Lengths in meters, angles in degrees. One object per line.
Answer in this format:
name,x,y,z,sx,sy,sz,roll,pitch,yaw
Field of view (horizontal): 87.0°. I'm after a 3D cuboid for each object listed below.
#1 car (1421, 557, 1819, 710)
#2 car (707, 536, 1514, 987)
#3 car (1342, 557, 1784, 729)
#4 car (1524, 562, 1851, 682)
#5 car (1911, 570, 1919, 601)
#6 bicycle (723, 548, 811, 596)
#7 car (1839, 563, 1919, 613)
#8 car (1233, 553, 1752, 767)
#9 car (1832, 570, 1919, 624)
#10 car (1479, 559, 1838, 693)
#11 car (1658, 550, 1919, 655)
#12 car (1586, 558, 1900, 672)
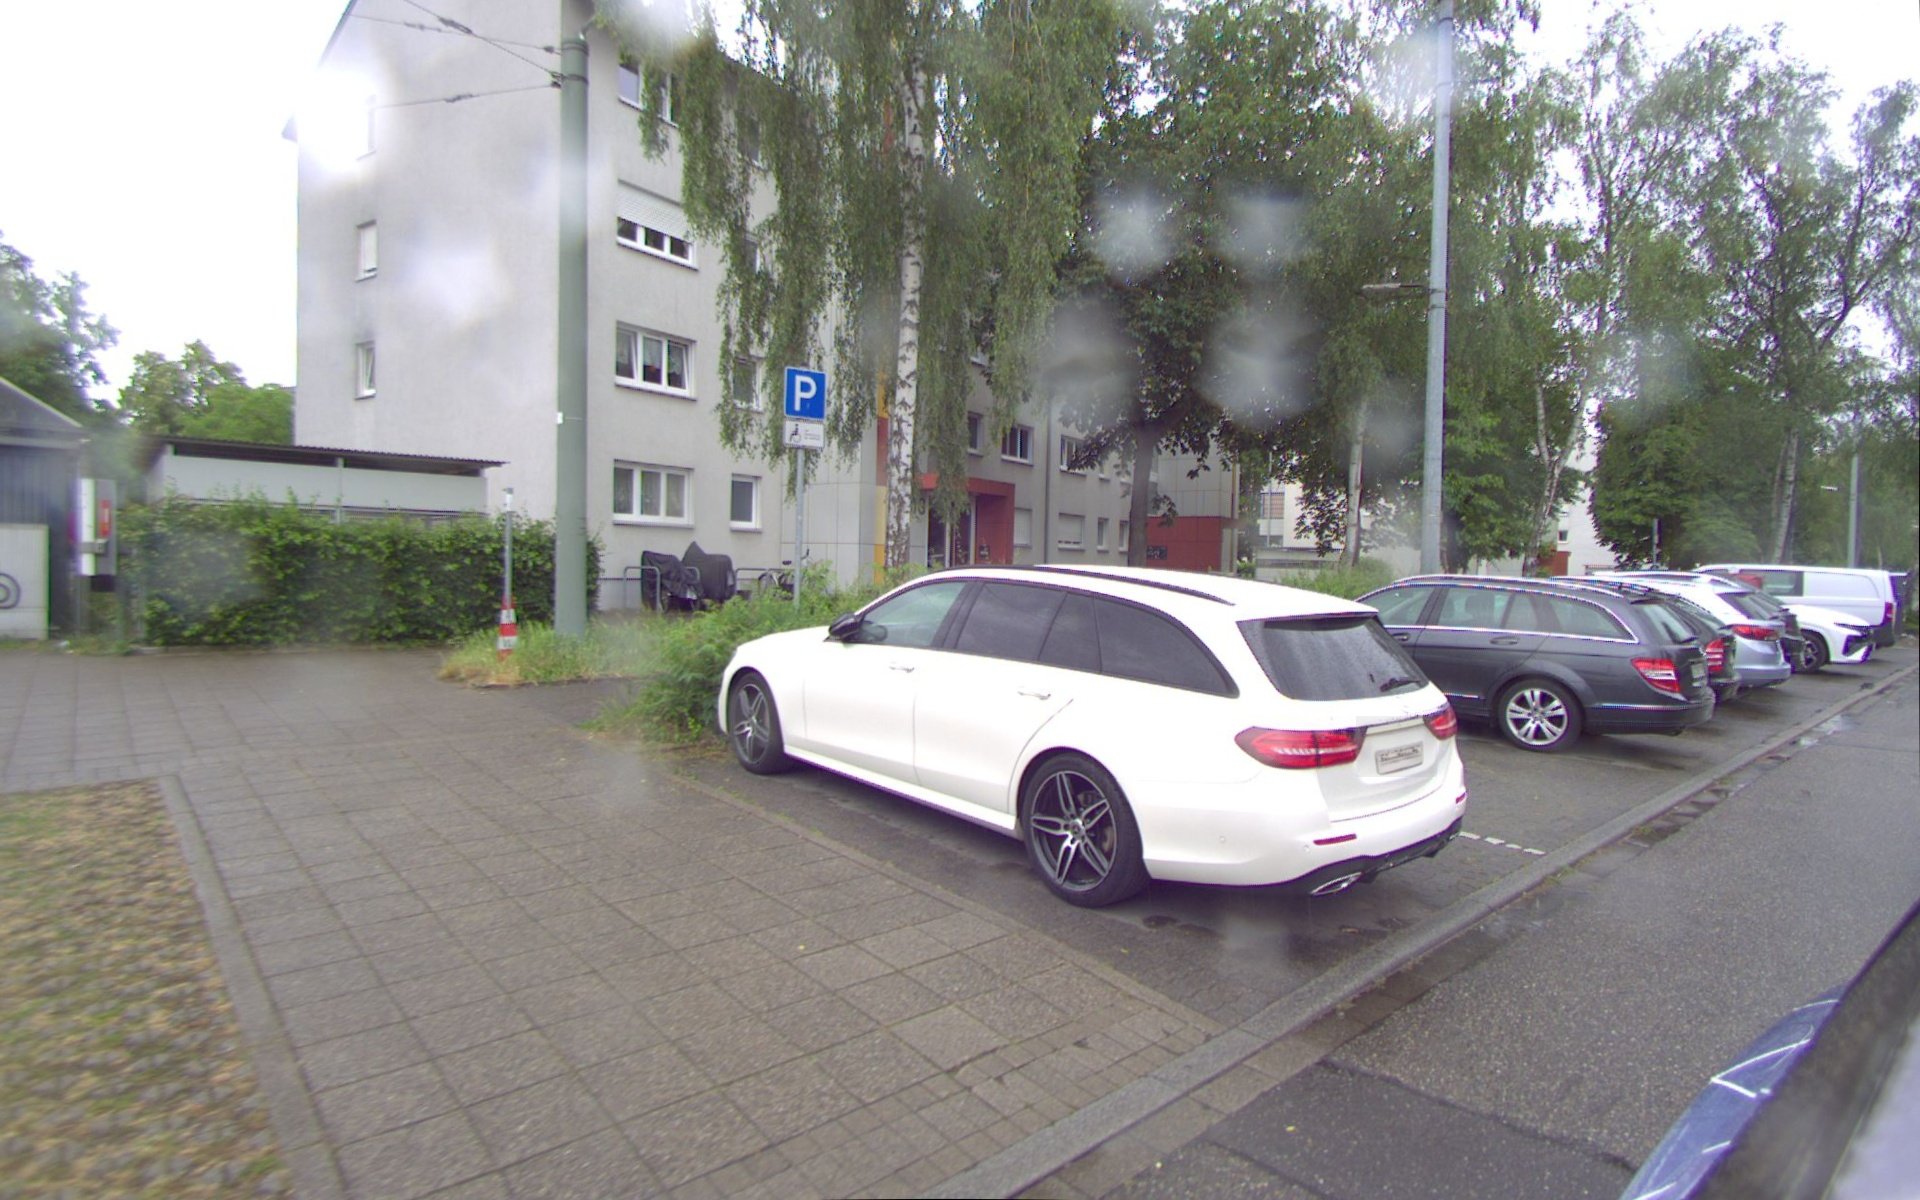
car,8.463,0.296,13.264,1.653,1.514,4.044,-1,5,-43
car,0.380,0.453,5.855,1.651,1.456,4.622,-1,5,-41
car,6.778,0.338,11.711,1.653,1.456,4.044,-1,5,-43
car,11.726,0.244,16.517,1.653,1.514,4.044,-1,5,-43
car,53.583,-0.787,53.892,1.866,1.701,3.998,-1,1,-36
bicycle,-4.221,-0.598,22.214,0.701,1.005,1.918,0,1,37
car,38.052,-0.493,40.518,1.866,1.937,3.998,-1,1,-36
car,4.871,0.373,9.715,1.653,1.456,4.044,-1,5,-43
car,34.767,-0.121,37.034,1.866,1.937,3.998,-1,1,-36
car,10.117,0.252,14.907,1.653,1.514,4.044,-1,5,-43
car,17.819,-0.048,21.902,4.172,1.888,1.654,6,5,44
car,14.042,0.161,18.365,1.651,1.637,4.181,-1,5,-40
